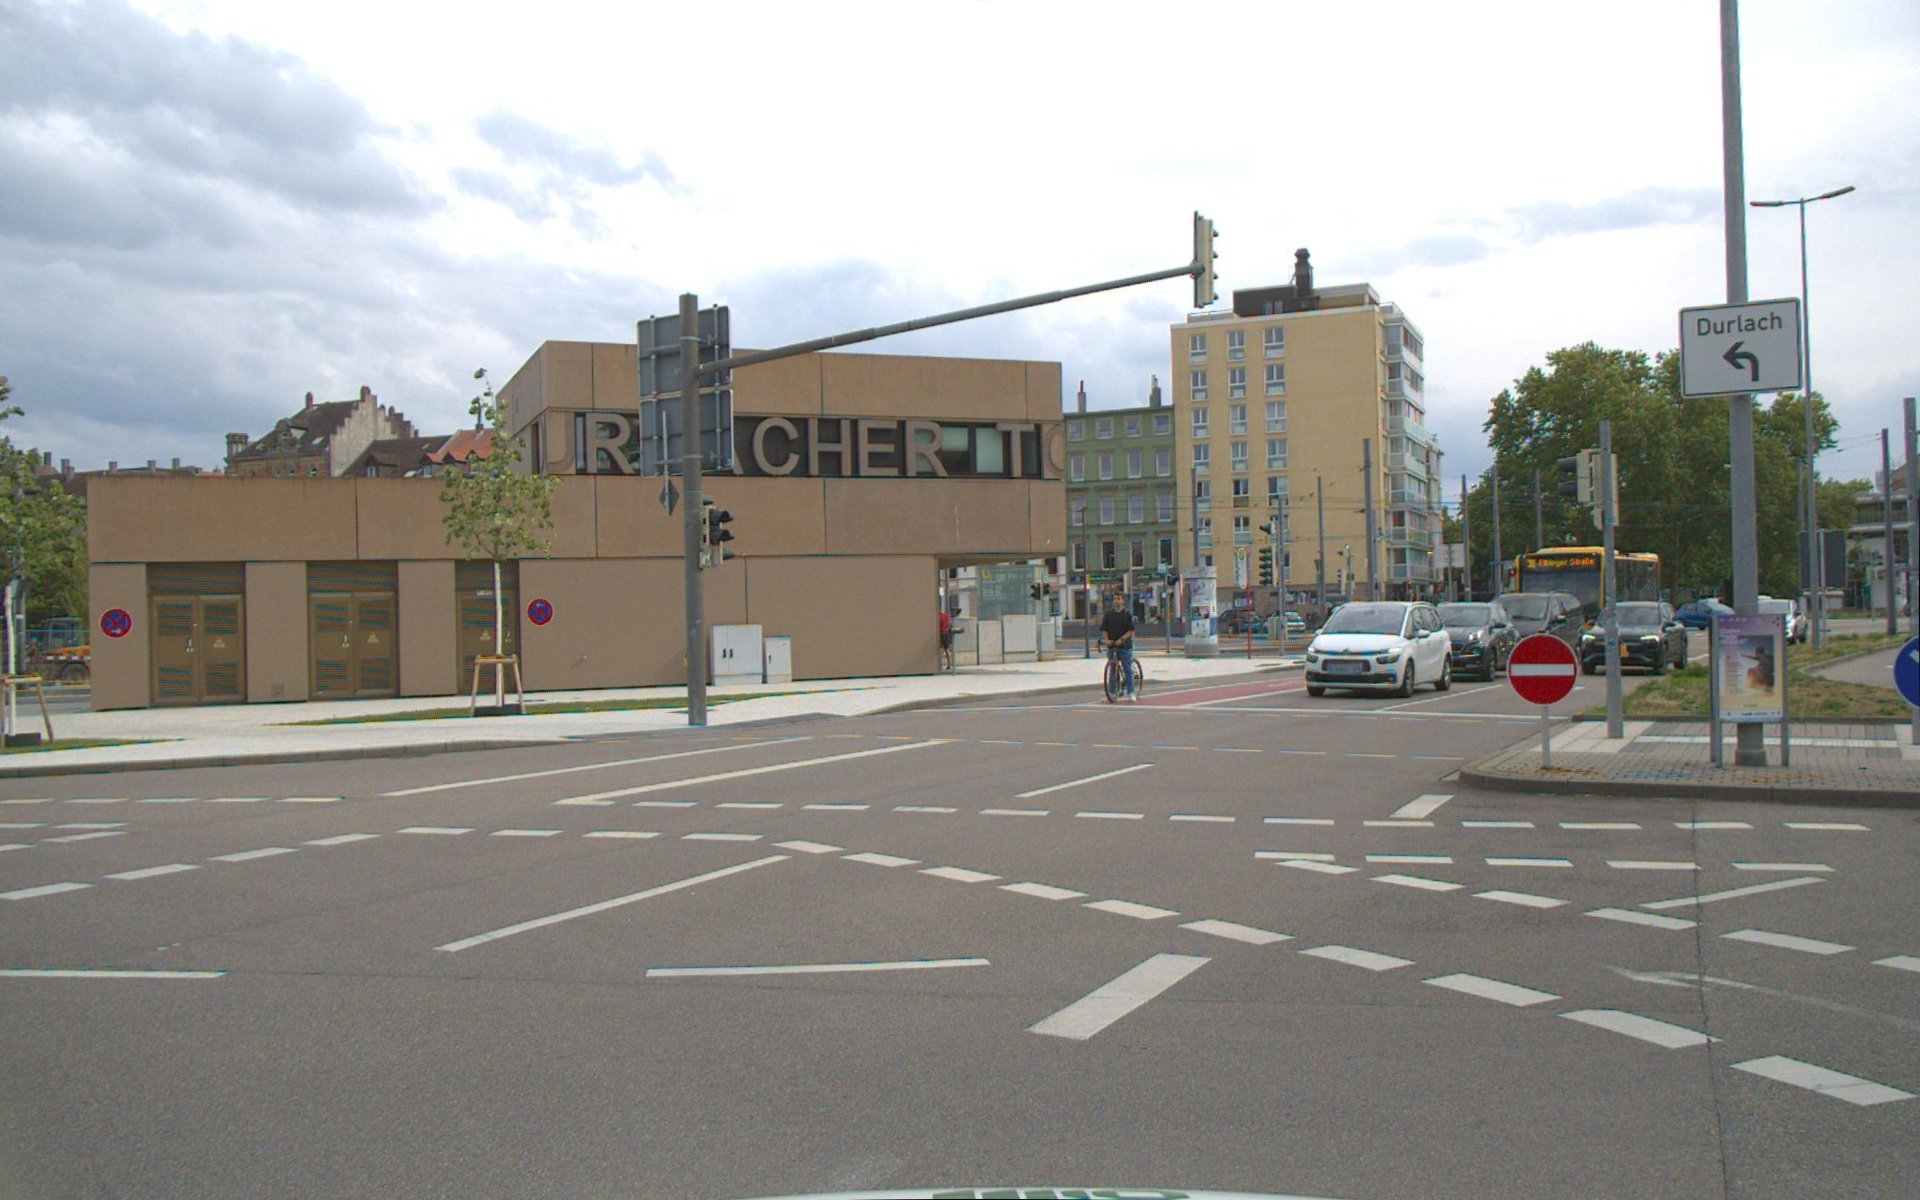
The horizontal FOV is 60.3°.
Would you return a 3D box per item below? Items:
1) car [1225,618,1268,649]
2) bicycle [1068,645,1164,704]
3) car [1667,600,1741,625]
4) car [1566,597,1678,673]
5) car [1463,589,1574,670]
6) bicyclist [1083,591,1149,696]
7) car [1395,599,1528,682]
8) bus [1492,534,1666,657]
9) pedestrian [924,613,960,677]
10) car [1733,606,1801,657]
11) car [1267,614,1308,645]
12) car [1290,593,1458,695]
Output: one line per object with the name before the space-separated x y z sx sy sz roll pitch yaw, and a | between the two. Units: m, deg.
car | 19.619 2.277 113.121 1.953 2.049 3.998 0 -1 24
bicycle | 2.617 1.209 27.486 0.845 0.892 2.517 0 -1 24
car | 38.980 0.651 86.699 1.387 1.247 3.241 -1 -1 -35
car | 15.681 0.799 39.073 1.956 1.680 4.505 0 -1 29
car | 14.158 0.728 41.809 1.956 1.932 4.283 0 -1 29
bicyclist | 2.584 0.711 27.425 0.849 1.698 0.880 0 -1 24
car | 10.993 0.843 36.040 1.956 1.680 4.283 0 -1 29
bus | 19.287 -0.056 50.886 3.089 3.312 12.389 0 -1 30
pedestrian | -0.512 1.286 46.826 0.796 1.763 0.777 -2 -2 -16
car | 28.297 1.088 57.921 1.956 1.680 4.505 0 -1 29
car | 22.246 2.007 112.342 1.953 2.049 3.998 0 -1 24
car | 7.548 0.756 29.865 1.956 1.680 4.283 0 -1 29
